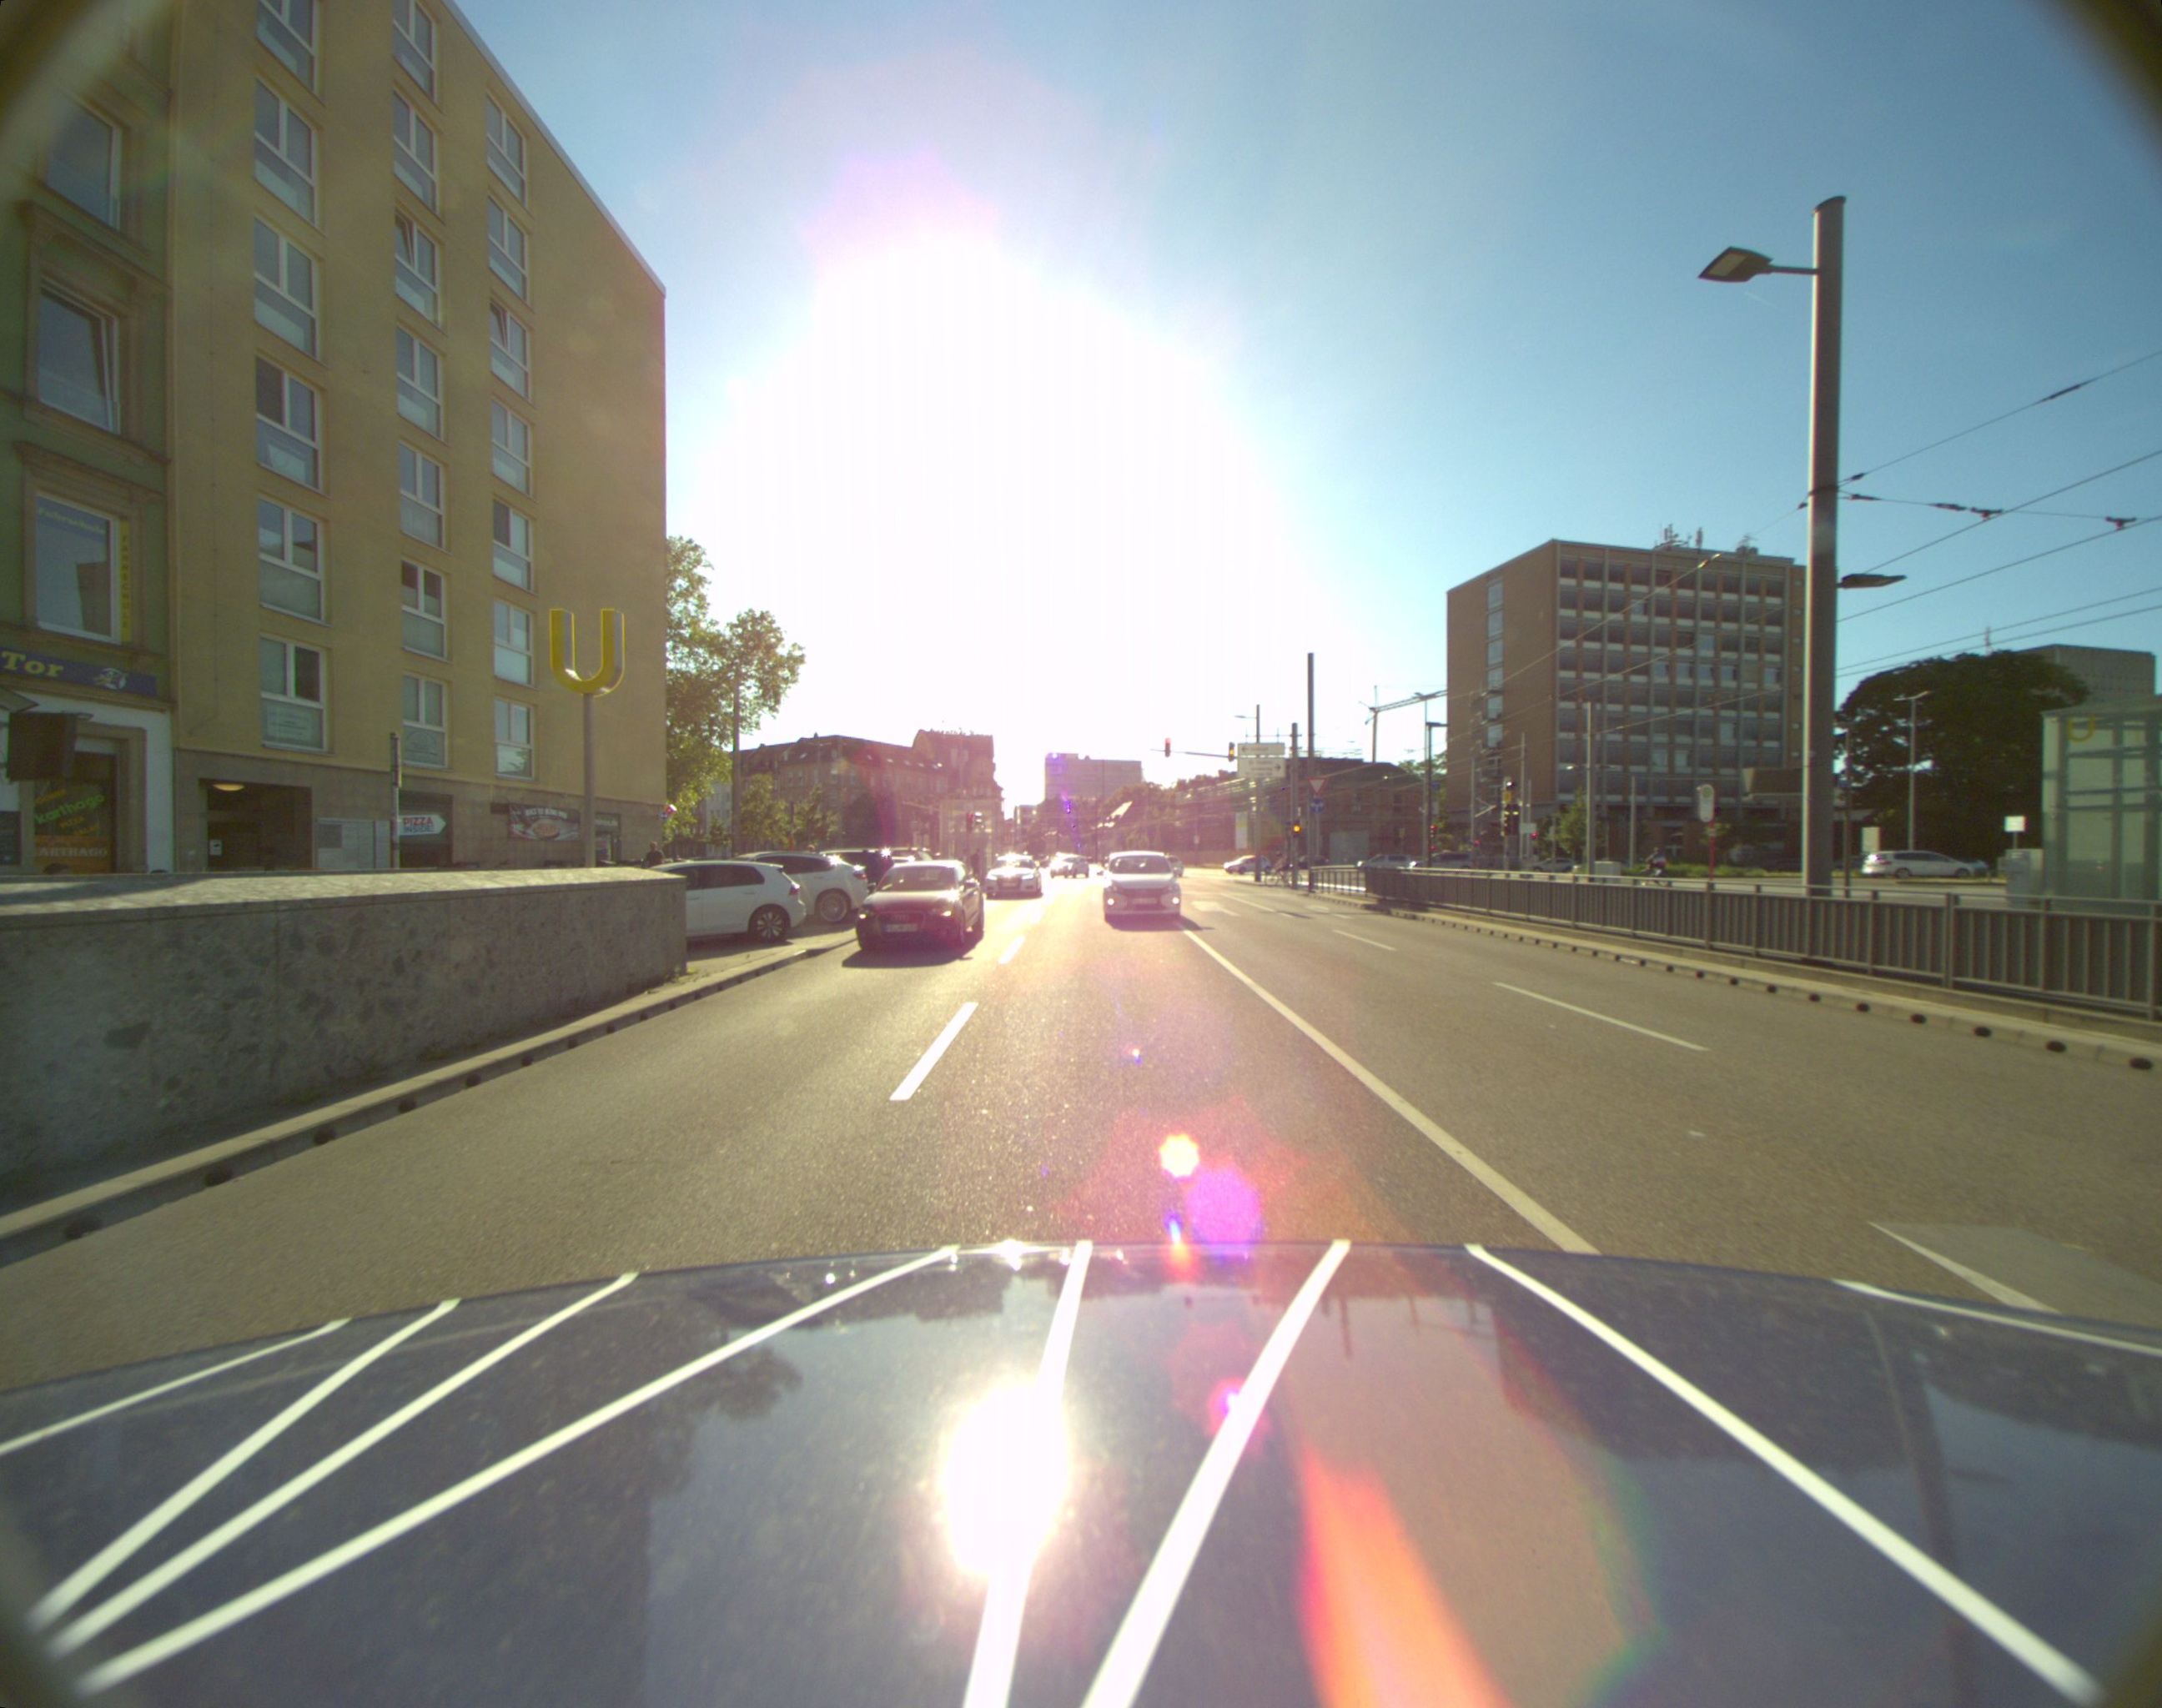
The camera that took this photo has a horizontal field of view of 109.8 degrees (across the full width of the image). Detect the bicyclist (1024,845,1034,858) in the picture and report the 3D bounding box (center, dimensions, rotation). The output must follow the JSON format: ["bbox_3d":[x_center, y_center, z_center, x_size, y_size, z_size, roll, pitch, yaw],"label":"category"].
[{"bbox_3d":[-6.268,-0.299,91.314,0.973,1.559,0.649,1,-2,17],"label":"bicyclist"}]

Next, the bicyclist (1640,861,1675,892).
[{"bbox_3d":[26.402,1.032,34.809,0.815,1.337,0.901,-4,1,-11],"label":"bicyclist"}]

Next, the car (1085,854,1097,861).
[{"bbox_3d":[2.074,0.779,158.292,1.757,1.455,4.016,0,-1,-12],"label":"car"}]

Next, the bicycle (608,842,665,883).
[{"bbox_3d":[-14.471,0.254,24.786,0.659,1.241,2.297,1,1,-5],"label":"bicycle"}]

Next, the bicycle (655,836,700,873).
[{"bbox_3d":[-14.481,0.009,27.320,0.659,1.241,1.900,1,1,-2],"label":"bicycle"}]

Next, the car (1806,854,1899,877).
[{"bbox_3d":[59.879,0.906,59.034,4.697,1.673,2.003,1,-2,15],"label":"car"}]

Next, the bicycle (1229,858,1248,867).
[{"bbox_3d":[17.735,0.982,85.531,1.875,0.965,0.713,1,4,26],"label":"bicycle"}]

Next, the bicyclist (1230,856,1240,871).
[{"bbox_3d":[16.865,1.012,83.272,1.014,1.579,0.695,1,4,20],"label":"bicyclist"}]

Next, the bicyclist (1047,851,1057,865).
[{"bbox_3d":[-3.535,0.437,91.978,0.972,1.651,0.650,0,-2,35],"label":"bicyclist"}]

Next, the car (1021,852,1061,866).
[{"bbox_3d":[-4.427,0.583,84.637,4.010,1.455,1.759,-1,0,18],"label":"car"}]

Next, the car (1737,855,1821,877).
[{"bbox_3d":[57.345,0.979,62.515,4.697,1.673,2.003,1,-2,15],"label":"car"}]

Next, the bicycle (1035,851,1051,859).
[{"bbox_3d":[-4.804,0.106,96.756,1.902,1.021,0.649,1,0,24],"label":"bicycle"}]

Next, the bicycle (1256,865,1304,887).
[{"bbox_3d":[8.904,0.970,34.065,1.894,0.936,0.815,1,1,-4],"label":"bicycle"}]

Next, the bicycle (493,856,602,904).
[{"bbox_3d":[-15.226,0.695,21.852,0.987,1.256,3.061,0,0,-1],"label":"bicycle"}]

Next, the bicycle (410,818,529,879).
[{"bbox_3d":[-14.803,-0.089,18.492,0.932,1.348,2.230,1,-2,4],"label":"bicycle"}]

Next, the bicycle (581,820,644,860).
[{"bbox_3d":[-15.224,-0.443,24.769,0.659,1.241,2.298,1,1,-1],"label":"bicycle"}]

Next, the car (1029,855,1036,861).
[{"bbox_3d":[-15.041,1.272,235.399,1.757,1.596,4.016,0,-1,-12],"label":"car"}]

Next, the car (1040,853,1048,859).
[{"bbox_3d":[-10.555,0.599,215.100,1.757,1.455,4.016,0,-1,-12],"label":"car"}]

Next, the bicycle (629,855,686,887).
[{"bbox_3d":[-18.649,0.726,33.493,1.998,1.338,0.815,1,1,-5],"label":"bicycle"}]

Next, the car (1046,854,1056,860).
[{"bbox_3d":[-7.942,0.905,201.179,1.757,1.455,4.016,0,-1,-12],"label":"car"}]

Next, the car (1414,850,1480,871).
[{"bbox_3d":[30.034,0.536,62.538,4.608,1.679,2.002,0,1,17],"label":"car"}]

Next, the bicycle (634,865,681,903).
[{"bbox_3d":[-15.201,1.058,27.311,0.659,1.241,1.900,1,1,-2],"label":"bicycle"}]

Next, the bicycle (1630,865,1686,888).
[{"bbox_3d":[26.407,1.032,34.811,0.815,0.936,2.000,-4,1,-11],"label":"bicycle"}]

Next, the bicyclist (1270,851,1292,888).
[{"bbox_3d":[8.978,0.687,34.066,0.676,1.607,0.815,1,1,-4],"label":"bicyclist"}]

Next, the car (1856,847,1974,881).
[{"bbox_3d":[50.398,0.596,46.010,4.456,1.723,1.944,4,0,12],"label":"car"}]

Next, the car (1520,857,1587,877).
[{"bbox_3d":[41.915,1.128,67.474,4.697,1.673,2.003,1,-2,15],"label":"car"}]

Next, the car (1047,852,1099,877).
[{"bbox_3d":[-0.463,0.650,48.932,1.780,1.455,3.922,1,1,25],"label":"car"}]

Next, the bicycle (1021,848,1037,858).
[{"bbox_3d":[-6.246,-0.088,91.300,1.899,1.116,0.649,0,-2,17],"label":"bicycle"}]

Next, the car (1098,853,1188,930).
[{"bbox_3d":[1.299,0.756,17.289,1.720,1.484,3.870,-1,1,0],"label":"car"}]

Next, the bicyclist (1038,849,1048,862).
[{"bbox_3d":[-4.841,0.163,96.765,0.972,1.685,0.649,1,0,24],"label":"bicyclist"}]

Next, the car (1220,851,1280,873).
[{"bbox_3d":[13.496,0.595,60.640,4.289,1.666,1.996,0,1,-25],"label":"car"}]
